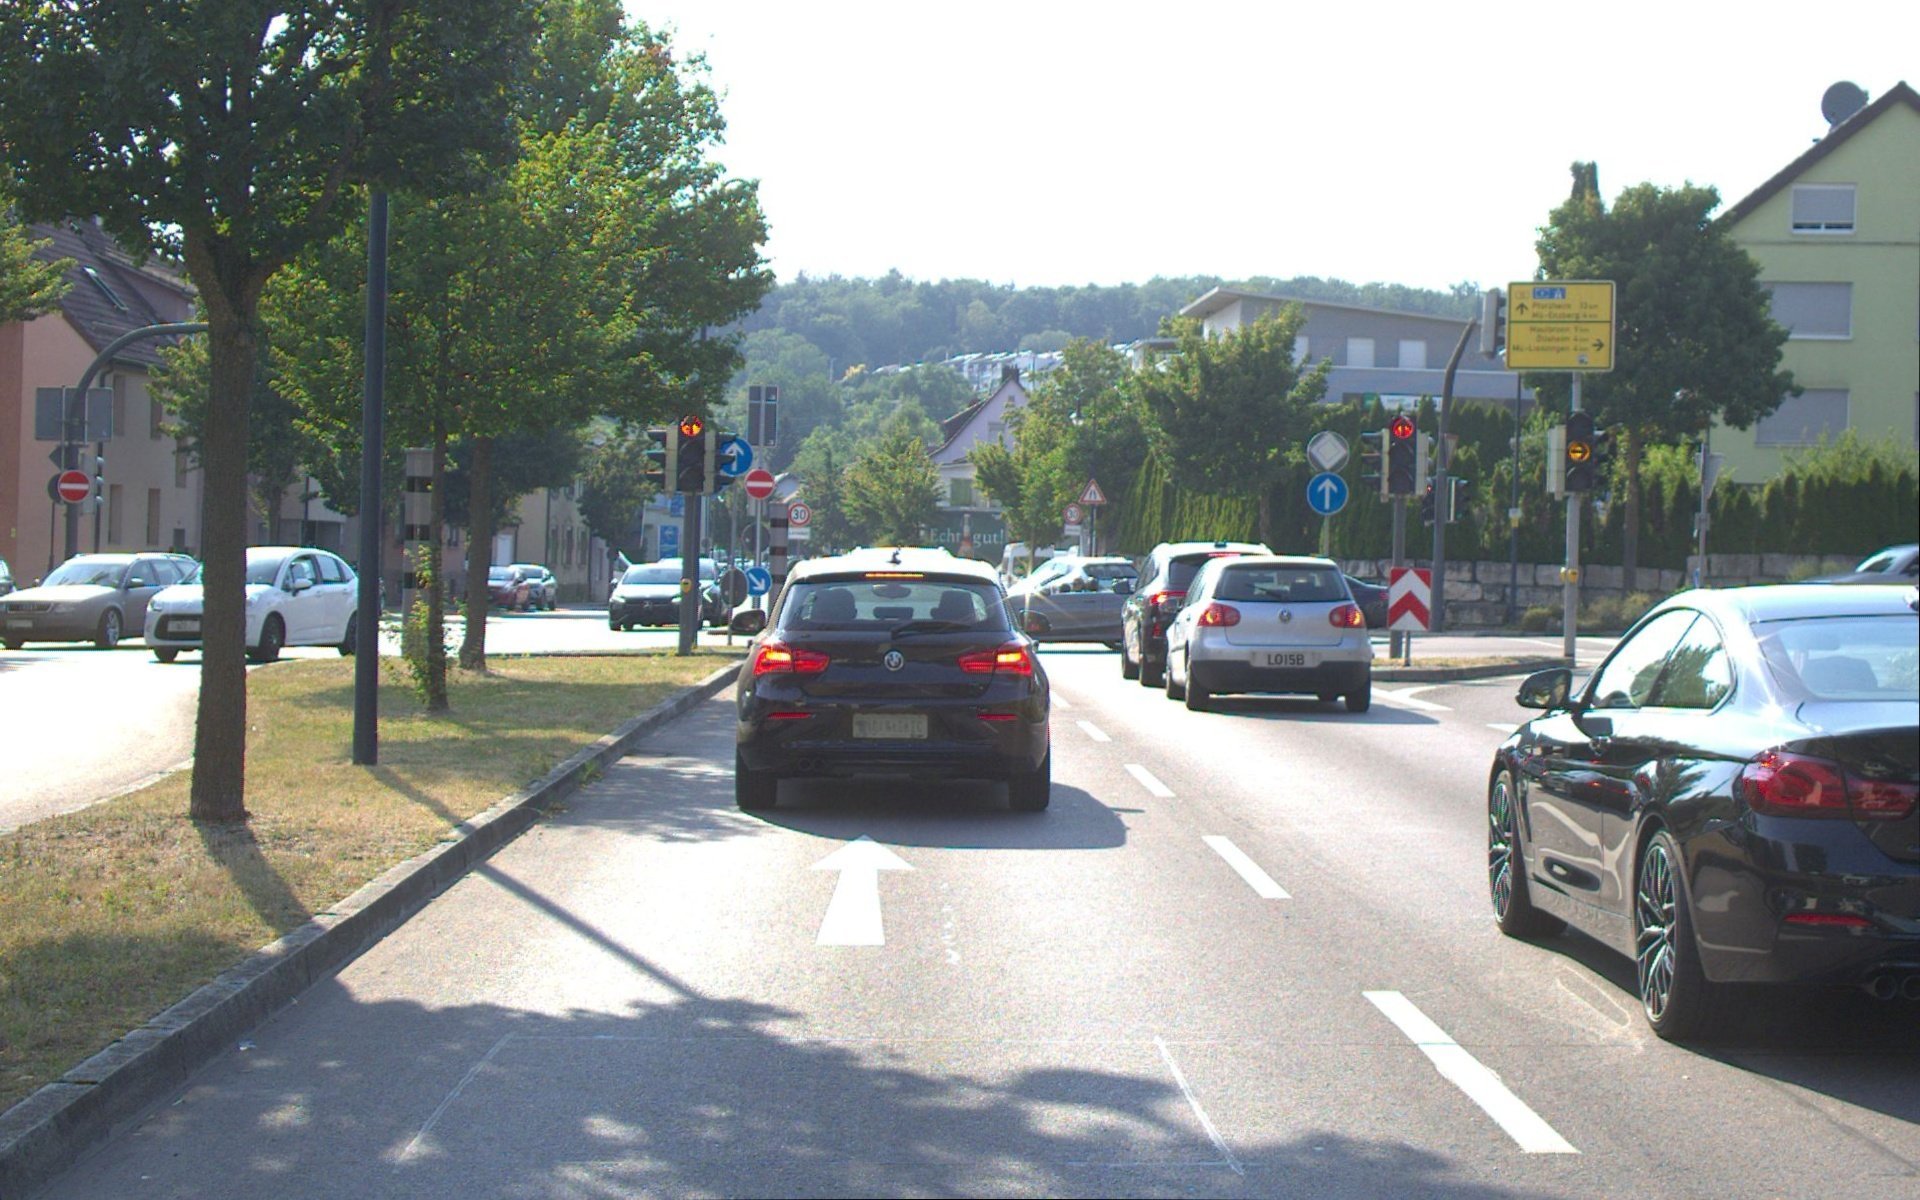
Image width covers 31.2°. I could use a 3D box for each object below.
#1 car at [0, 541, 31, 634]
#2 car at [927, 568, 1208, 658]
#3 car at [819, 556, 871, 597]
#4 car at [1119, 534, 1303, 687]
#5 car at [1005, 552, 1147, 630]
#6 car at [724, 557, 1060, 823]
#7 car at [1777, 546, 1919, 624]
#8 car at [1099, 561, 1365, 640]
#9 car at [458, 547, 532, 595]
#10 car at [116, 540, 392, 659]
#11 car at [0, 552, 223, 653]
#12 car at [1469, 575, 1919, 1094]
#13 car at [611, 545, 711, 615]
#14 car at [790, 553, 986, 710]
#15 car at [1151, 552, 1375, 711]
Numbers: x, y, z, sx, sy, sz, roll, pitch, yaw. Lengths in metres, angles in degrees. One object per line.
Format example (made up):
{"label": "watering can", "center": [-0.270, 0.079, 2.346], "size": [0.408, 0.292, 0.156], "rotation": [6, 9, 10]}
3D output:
{"label": "car", "center": [-16.957, -0.237, 57.029], "size": [1.843, 1.546, 4.000], "rotation": [3, 1, 1]}
{"label": "car", "center": [1.809, 0.215, 58.382], "size": [4.462, 1.344, 1.787], "rotation": [1, 4, -10]}
{"label": "car", "center": [-4.615, -0.950, 138.328], "size": [1.924, 1.590, 4.000], "rotation": [1, 1, 1]}
{"label": "car", "center": [2.861, 0.081, 39.980], "size": [1.816, 1.660, 4.347], "rotation": [1, 1, 0]}
{"label": "car", "center": [2.586, -0.223, 77.743], "size": [1.890, 1.696, 4.525], "rotation": [-1, 1, -16]}
{"label": "car", "center": [-0.357, 0.456, 20.667], "size": [1.790, 1.410, 4.347], "rotation": [1, 1, 0]}
{"label": "car", "center": [18.688, -0.285, 67.914], "size": [4.642, 1.480, 1.868], "rotation": [1, 1, -17]}
{"label": "car", "center": [5.107, 0.002, 64.796], "size": [4.627, 1.417, 1.850], "rotation": [1, 1, -13]}
{"label": "car", "center": [-15.808, -0.989, 116.968], "size": [1.924, 1.590, 4.000], "rotation": [1, 1, 1]}
{"label": "car", "center": [-9.412, -0.027, 46.145], "size": [1.803, 1.492, 3.951], "rotation": [1, 1, 20]}
{"label": "car", "center": [-12.988, 0.011, 52.663], "size": [1.687, 1.457, 4.710], "rotation": [1, 1, 10]}
{"label": "car", "center": [2.944, 0.633, 11.576], "size": [1.816, 1.384, 4.347], "rotation": [1, 1, 0]}
{"label": "car", "center": [-6.469, -0.444, 74.663], "size": [1.766, 1.453, 4.000], "rotation": [1, 1, 1]}
{"label": "car", "center": [-0.663, 0.265, 34.124], "size": [1.816, 1.446, 4.242], "rotation": [1, 1, 0]}
{"label": "car", "center": [2.904, 0.262, 33.789], "size": [1.816, 1.441, 4.347], "rotation": [1, 1, 0]}
